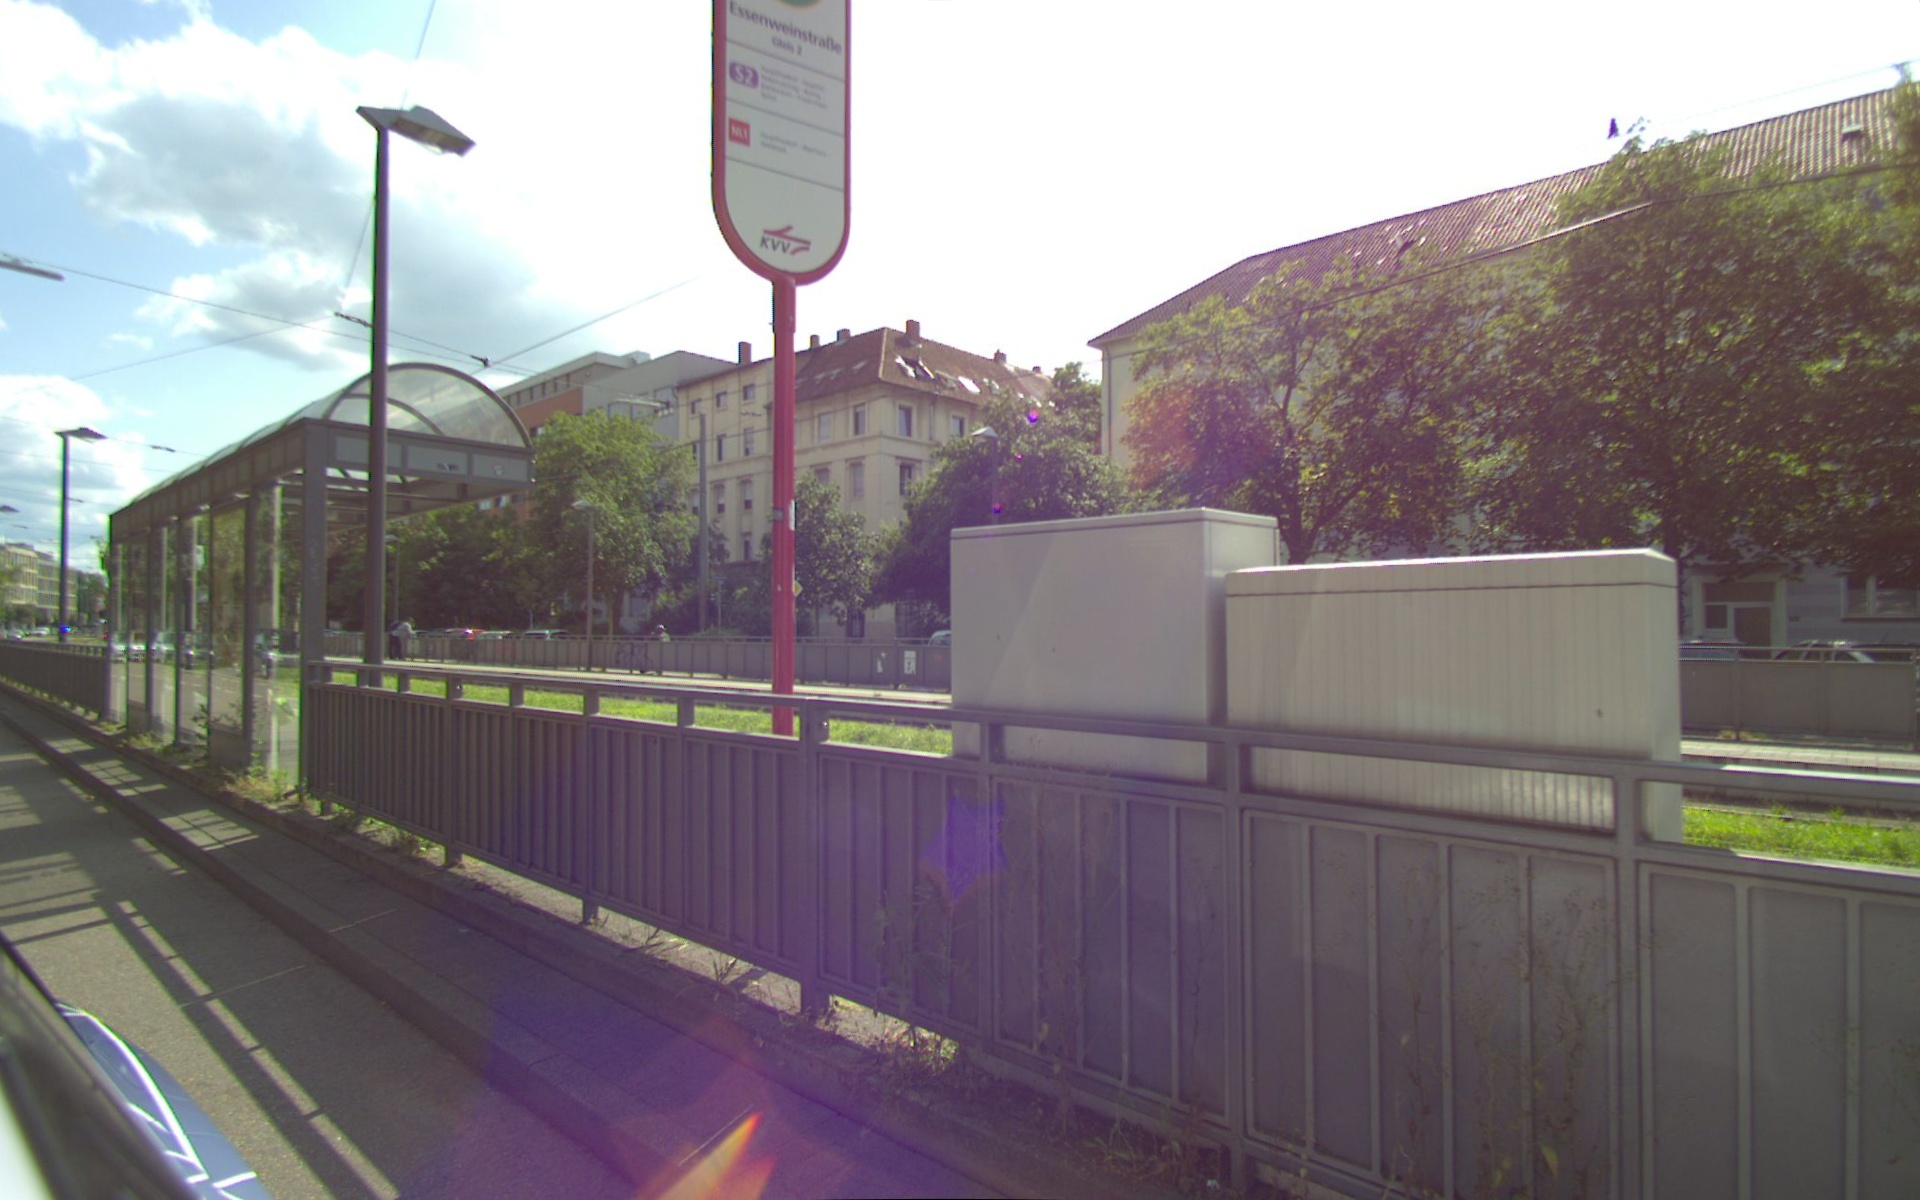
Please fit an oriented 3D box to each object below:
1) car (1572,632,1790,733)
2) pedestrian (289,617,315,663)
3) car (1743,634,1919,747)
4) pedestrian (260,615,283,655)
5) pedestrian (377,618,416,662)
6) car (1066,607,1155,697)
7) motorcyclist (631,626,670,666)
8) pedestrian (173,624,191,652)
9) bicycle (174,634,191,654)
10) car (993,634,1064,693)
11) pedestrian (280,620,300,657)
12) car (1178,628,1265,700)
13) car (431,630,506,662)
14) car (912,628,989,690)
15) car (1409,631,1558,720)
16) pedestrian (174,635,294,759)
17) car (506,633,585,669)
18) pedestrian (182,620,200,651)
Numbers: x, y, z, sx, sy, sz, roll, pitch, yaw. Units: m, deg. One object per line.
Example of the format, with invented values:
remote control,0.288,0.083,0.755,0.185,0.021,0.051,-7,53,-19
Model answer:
car,12.297,1.329,17.591,1.593,1.525,4.011,0,-2,13
pedestrian,-27.552,1.672,42.381,0.639,1.906,0.742,1,0,45
car,14.368,1.338,15.998,1.632,1.591,3.653,-1,-2,12
pedestrian,-30.962,1.581,45.532,0.599,1.767,0.626,0,-1,-7
pedestrian,-20.582,1.451,36.975,0.798,1.590,0.978,-1,-2,40
car,3.873,1.286,25.585,2.028,2.086,3.937,-1,-2,11
motorcyclist,-10.773,1.597,35.201,0.986,1.349,0.928,-2,-3,43
pedestrian,-47.786,2.351,62.157,0.798,1.712,0.659,-1,-2,40
bicycle,-44.772,2.524,58.277,0.653,1.122,1.880,3,-4,-39
car,1.954,1.703,27.944,1.591,1.497,3.988,-1,-2,9
pedestrian,-30.546,1.755,46.127,0.625,1.687,0.600,-1,-2,43
car,6.188,1.477,24.313,1.700,1.591,3.938,-1,-2,10
car,-26.294,2.448,54.295,1.810,1.652,4.132,1,-2,3
car,-0.208,1.667,29.574,1.805,1.652,3.993,-2,-2,5
car,10.164,1.407,19.939,1.632,1.591,3.653,-1,-2,12
pedestrian,-6.672,0.869,9.336,0.652,1.080,0.725,0,-3,-13
car,-19.372,2.372,47.529,1.900,1.576,4.150,1,-2,2
pedestrian,-44.512,2.060,58.615,0.798,1.737,0.631,-1,-2,40
